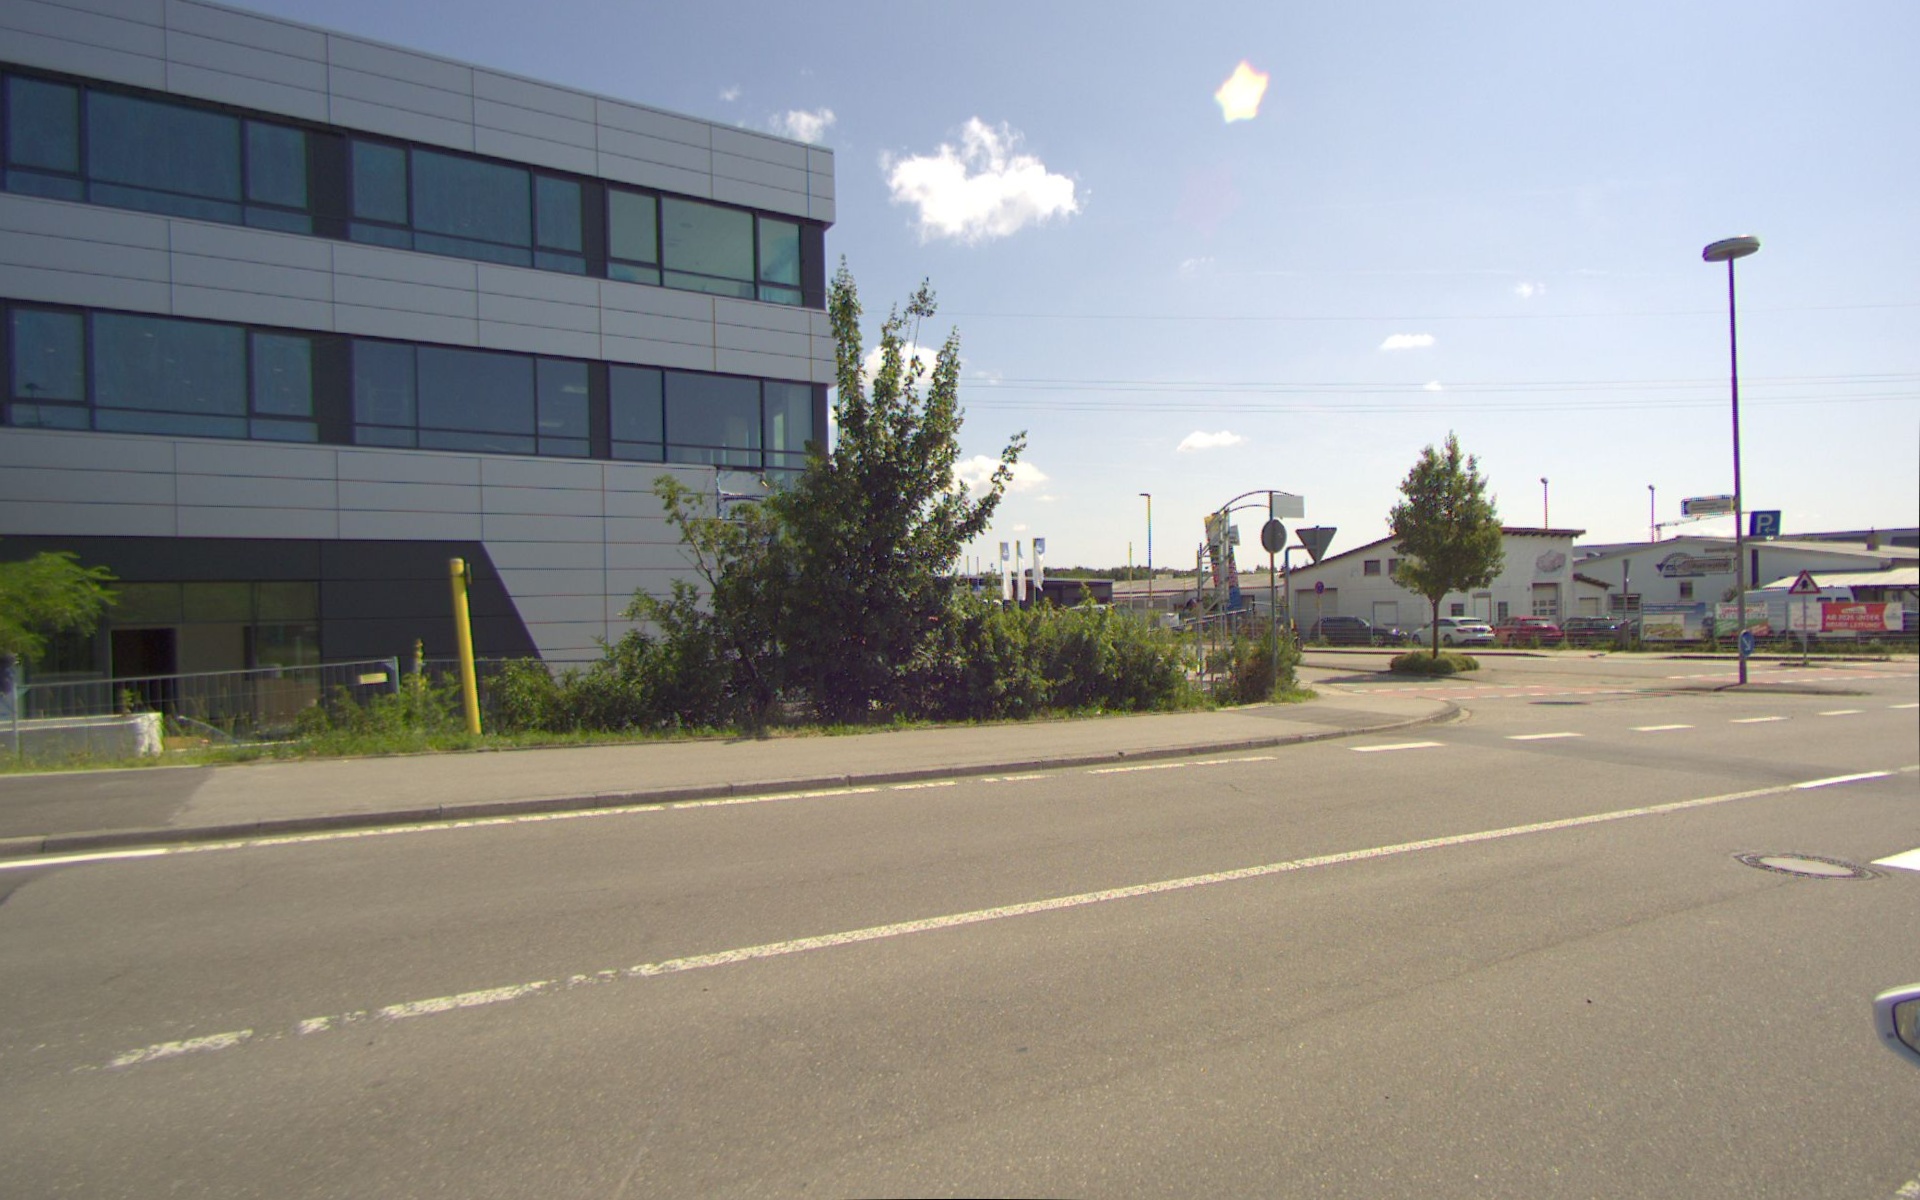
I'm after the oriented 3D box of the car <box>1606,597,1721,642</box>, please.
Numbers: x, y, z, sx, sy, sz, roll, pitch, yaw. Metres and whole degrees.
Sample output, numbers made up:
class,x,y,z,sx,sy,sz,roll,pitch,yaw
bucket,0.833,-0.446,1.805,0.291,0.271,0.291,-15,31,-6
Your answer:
class,x,y,z,sx,sy,sz,roll,pitch,yaw
car,28.560,0.752,40.945,1.960,1.702,4.000,-1,1,1

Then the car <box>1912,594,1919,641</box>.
class,x,y,z,sx,sy,sz,roll,pitch,yaw
car,40.919,0.714,40.081,1.961,1.929,3.998,-1,1,-3

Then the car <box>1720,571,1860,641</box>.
class,x,y,z,sx,sy,sz,roll,pitch,yaw
car,33.203,0.267,40.353,1.961,2.643,4.365,0,-1,-1

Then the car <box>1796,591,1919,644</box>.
class,x,y,z,sx,sy,sz,roll,pitch,yaw
car,35.739,0.649,39.806,1.960,1.929,4.000,-1,1,2

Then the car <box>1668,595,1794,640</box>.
class,x,y,z,sx,sy,sz,roll,pitch,yaw
car,30.793,0.648,40.257,1.961,1.676,3.999,-1,1,0

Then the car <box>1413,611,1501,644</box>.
class,x,y,z,sx,sy,sz,roll,pitch,yaw
car,21.647,1.162,43.917,1.692,1.356,3.929,0,-1,-4

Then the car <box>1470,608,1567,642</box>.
class,x,y,z,sx,sy,sz,roll,pitch,yaw
car,23.777,1.042,42.919,1.960,1.394,4.001,0,-1,1

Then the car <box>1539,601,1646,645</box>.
class,x,y,z,sx,sy,sz,roll,pitch,yaw
car,26.088,0.914,41.602,1.960,1.676,4.000,-1,1,1

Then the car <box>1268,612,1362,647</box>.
class,x,y,z,sx,sy,sz,roll,pitch,yaw
car,17.215,1.407,48.903,1.978,1.534,3.964,-2,1,-32

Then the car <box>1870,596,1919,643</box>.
class,x,y,z,sx,sy,sz,roll,pitch,yaw
car,38.620,0.776,39.591,1.960,1.805,4.000,-1,1,2

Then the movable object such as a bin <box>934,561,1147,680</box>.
class,x,y,z,sx,sy,sz,roll,pitch,yaw
movable object such as a bin,2.191,0.591,25.800,5.693,2.734,2.054,3,-2,-42
